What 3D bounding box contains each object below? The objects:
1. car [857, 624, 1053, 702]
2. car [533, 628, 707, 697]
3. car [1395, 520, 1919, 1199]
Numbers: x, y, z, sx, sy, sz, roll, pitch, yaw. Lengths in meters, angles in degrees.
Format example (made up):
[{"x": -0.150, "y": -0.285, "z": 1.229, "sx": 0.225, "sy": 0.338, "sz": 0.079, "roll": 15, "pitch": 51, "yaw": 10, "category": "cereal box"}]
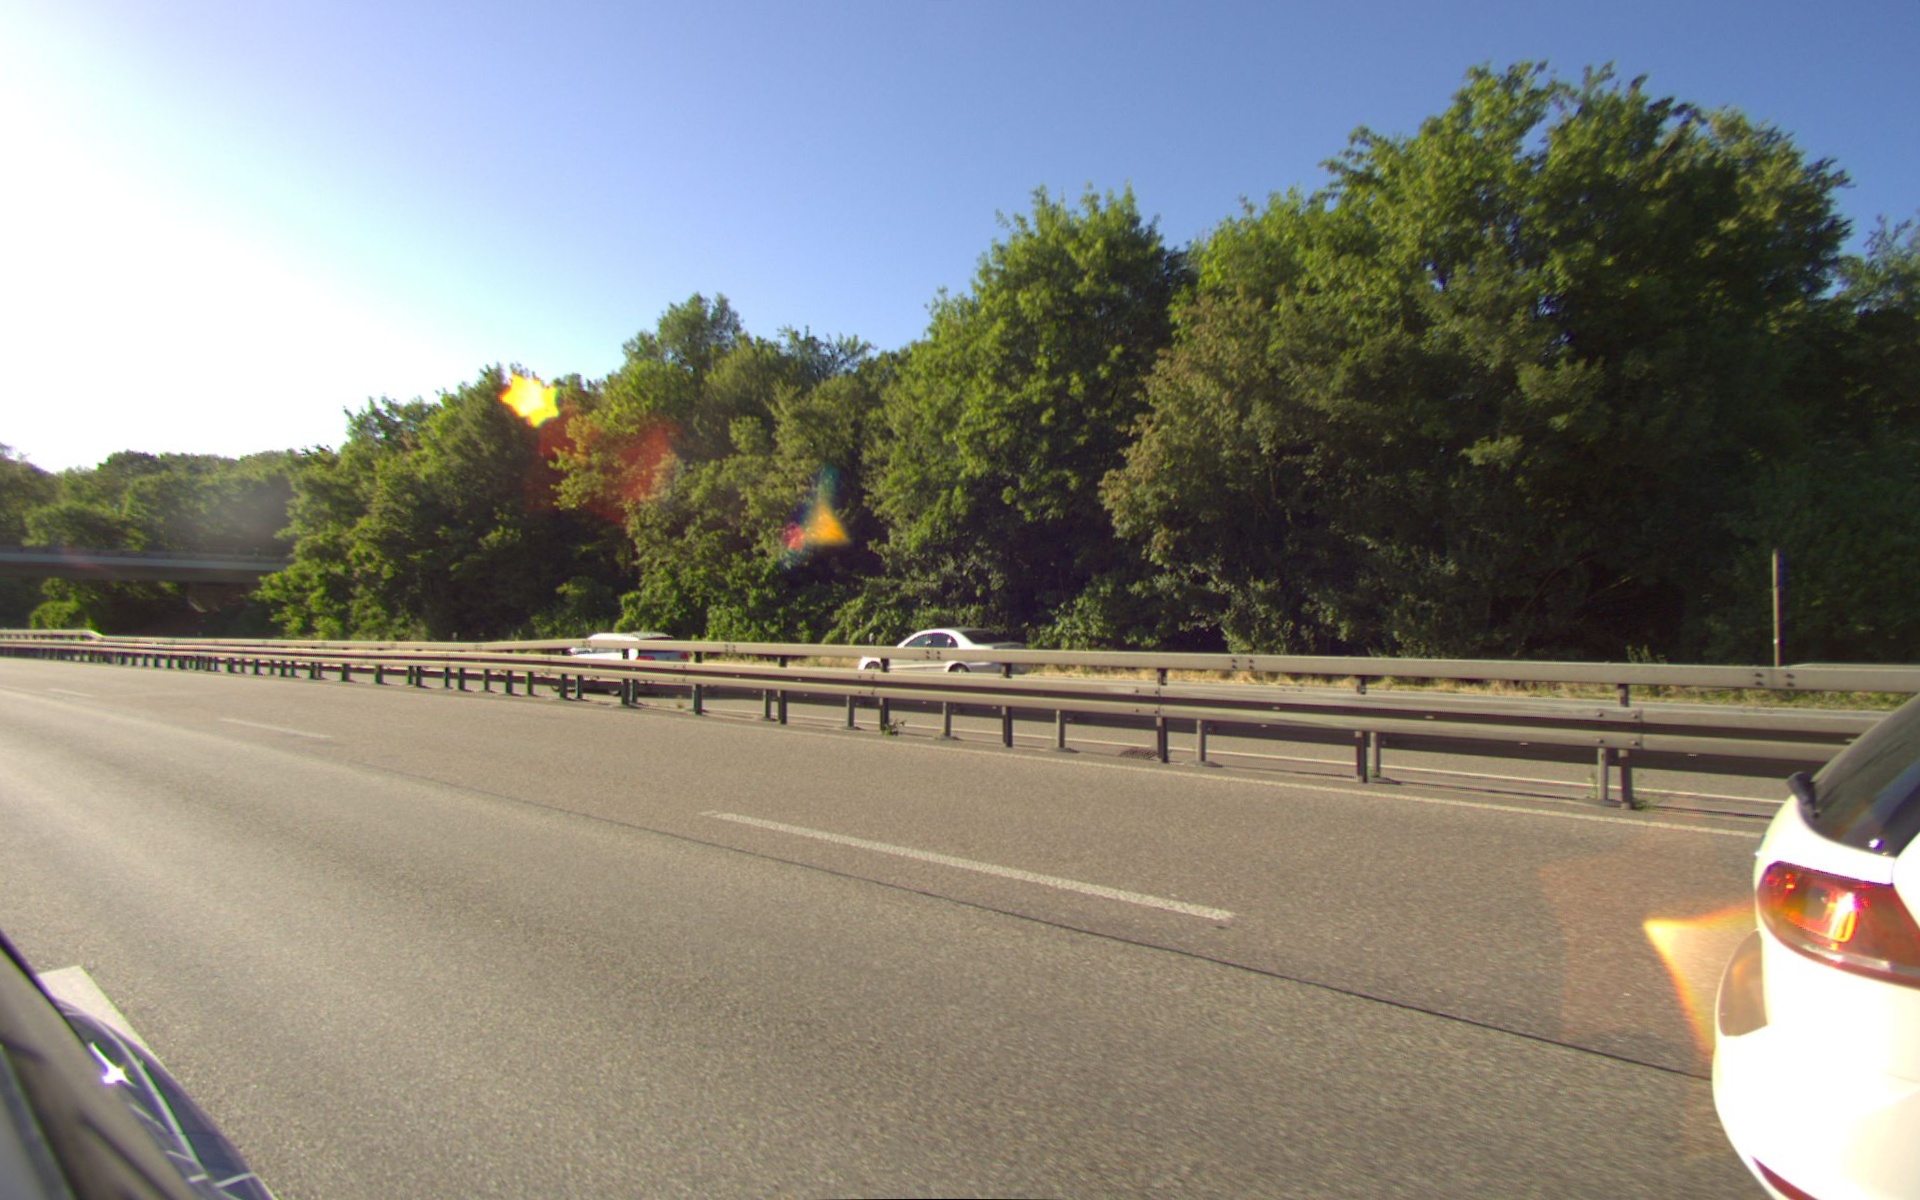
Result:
[{"x": -0.171, "y": 1.420, "z": 23.987, "sx": 4.418, "sy": 1.662, "sz": 1.974, "roll": -1, "pitch": -2, "yaw": 39, "category": "car"}, {"x": -8.505, "y": 1.483, "z": 25.169, "sx": 4.415, "sy": 1.524, "sz": 1.975, "roll": -1, "pitch": -1, "yaw": 37, "category": "car"}, {"x": 3.597, "y": 0.601, "z": 0.883, "sx": 5.597, "sy": 1.519, "sz": 1.909, "roll": -1, "pitch": -1, "yaw": 42, "category": "car"}]
